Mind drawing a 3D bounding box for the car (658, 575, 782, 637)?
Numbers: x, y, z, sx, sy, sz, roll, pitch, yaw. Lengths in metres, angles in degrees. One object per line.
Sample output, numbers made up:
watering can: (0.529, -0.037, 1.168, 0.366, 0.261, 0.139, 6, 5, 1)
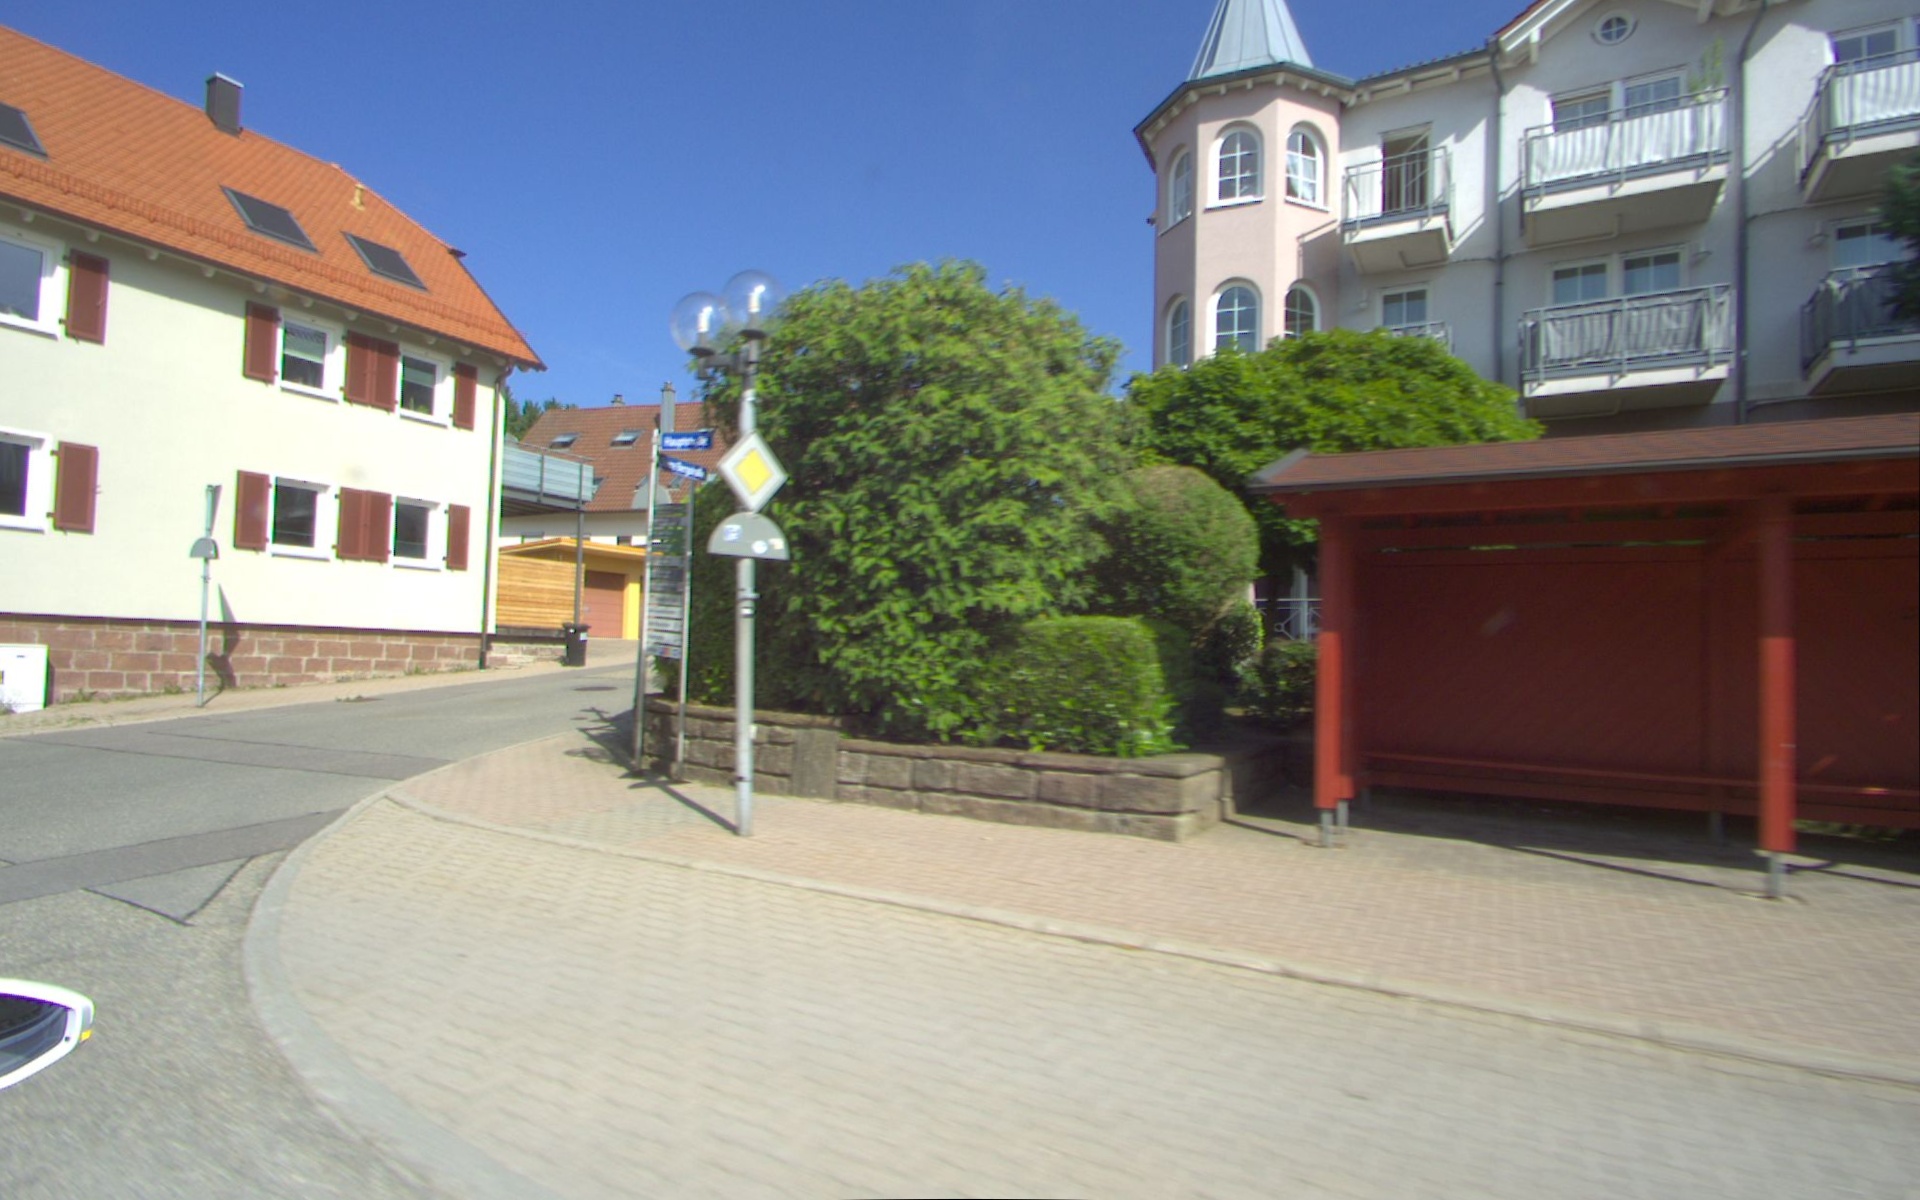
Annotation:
car: (-7.831, 0.206, 32.618, 3.945, 1.890, 1.721, -1, 0, 34)
